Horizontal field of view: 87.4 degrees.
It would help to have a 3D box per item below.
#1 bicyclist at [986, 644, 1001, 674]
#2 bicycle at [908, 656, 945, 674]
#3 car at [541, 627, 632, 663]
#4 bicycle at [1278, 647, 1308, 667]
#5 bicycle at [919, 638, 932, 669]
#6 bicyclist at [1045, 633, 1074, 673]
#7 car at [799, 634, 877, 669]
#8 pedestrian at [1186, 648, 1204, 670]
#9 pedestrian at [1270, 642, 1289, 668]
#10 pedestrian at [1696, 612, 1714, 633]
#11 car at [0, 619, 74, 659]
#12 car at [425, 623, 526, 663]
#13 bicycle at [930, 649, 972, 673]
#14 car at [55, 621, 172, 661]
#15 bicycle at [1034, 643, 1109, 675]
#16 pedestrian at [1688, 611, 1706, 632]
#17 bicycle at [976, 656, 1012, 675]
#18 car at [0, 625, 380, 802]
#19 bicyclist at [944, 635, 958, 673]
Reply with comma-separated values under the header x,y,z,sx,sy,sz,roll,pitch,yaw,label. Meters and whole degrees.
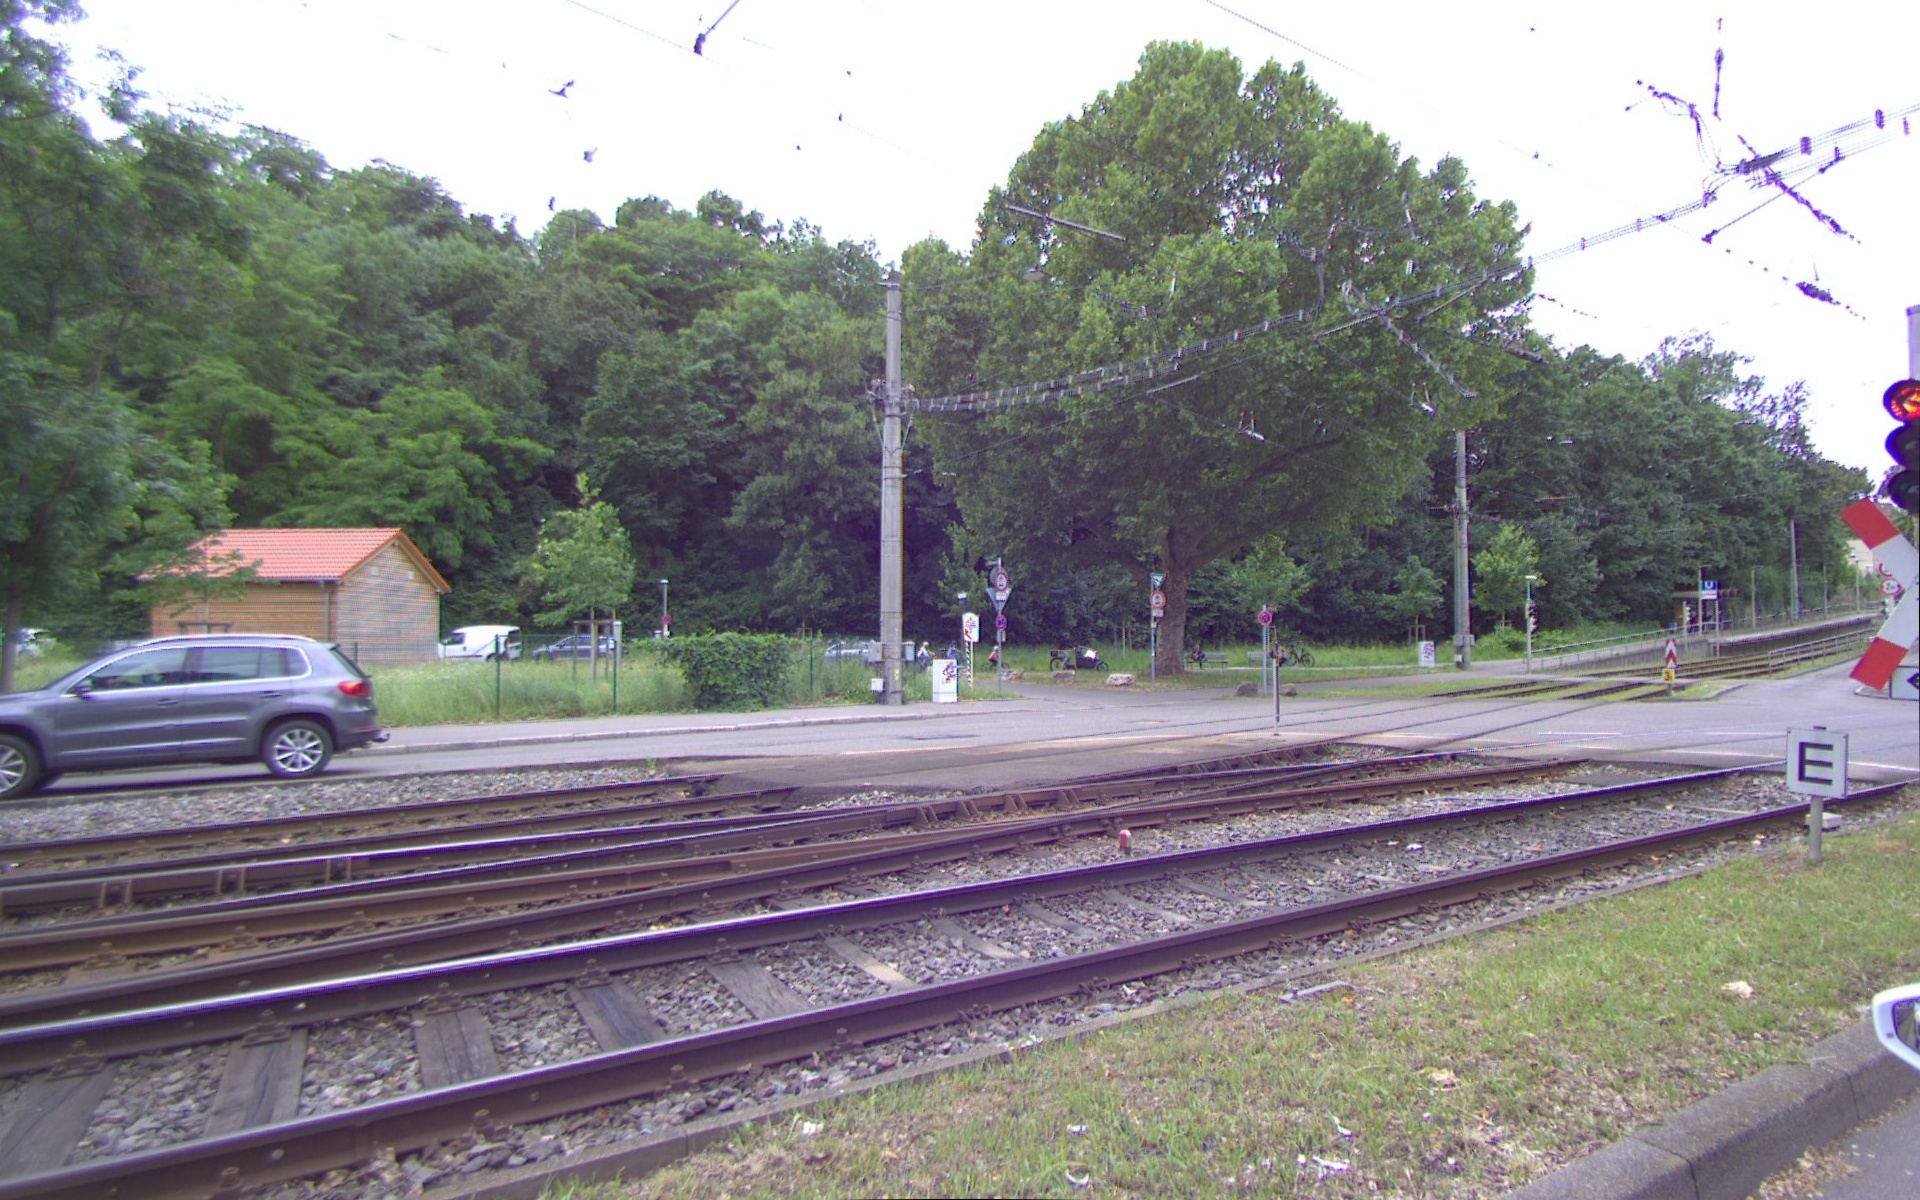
x,y,z,sx,sy,sz,roll,pitch,yaw,label
1.536,2.681,45.555,0.570,1.319,0.454,-2,2,-7,bicyclist
-1.481,2.899,44.846,1.620,0.749,0.455,-1,2,1,bicycle
-16.864,2.036,45.472,3.436,1.443,1.700,2,0,-3,car
16.356,2.805,49.367,0.611,0.897,1.743,2,0,-10,bicycle
-1.535,2.400,44.840,0.506,1.348,0.455,-1,2,1,bicycle
4.504,2.392,45.375,1.266,1.734,0.736,-1,2,7,bicyclist
-5.657,2.383,46.852,3.436,1.443,1.700,2,0,-3,car
11.301,2.823,48.308,0.610,1.003,0.530,2,0,-15,pedestrian
15.541,2.666,48.909,0.662,1.251,0.578,2,0,-16,pedestrian
50.059,1.498,67.463,0.780,1.344,0.766,2,0,-38,pedestrian
-41.790,1.686,44.366,3.612,1.634,1.756,2,0,-6,car
-21.911,1.935,45.529,3.610,1.634,1.909,2,0,-3,car
-0.425,2.767,45.808,1.907,1.055,0.475,0,1,-3,bicycle
-37.598,1.815,44.687,3.610,1.634,1.757,2,0,-3,car
5.023,2.656,45.311,3.279,1.307,0.736,-1,2,7,bicycle
49.107,1.444,66.904,0.780,1.344,0.766,-1,2,-37,pedestrian
1.535,2.971,45.560,1.530,0.749,0.454,-3,2,-7,bicycle
-9.079,1.218,11.547,4.092,1.740,1.890,0,-4,-33,car
-0.404,2.443,45.798,0.611,1.697,0.475,0,2,-4,bicyclist
